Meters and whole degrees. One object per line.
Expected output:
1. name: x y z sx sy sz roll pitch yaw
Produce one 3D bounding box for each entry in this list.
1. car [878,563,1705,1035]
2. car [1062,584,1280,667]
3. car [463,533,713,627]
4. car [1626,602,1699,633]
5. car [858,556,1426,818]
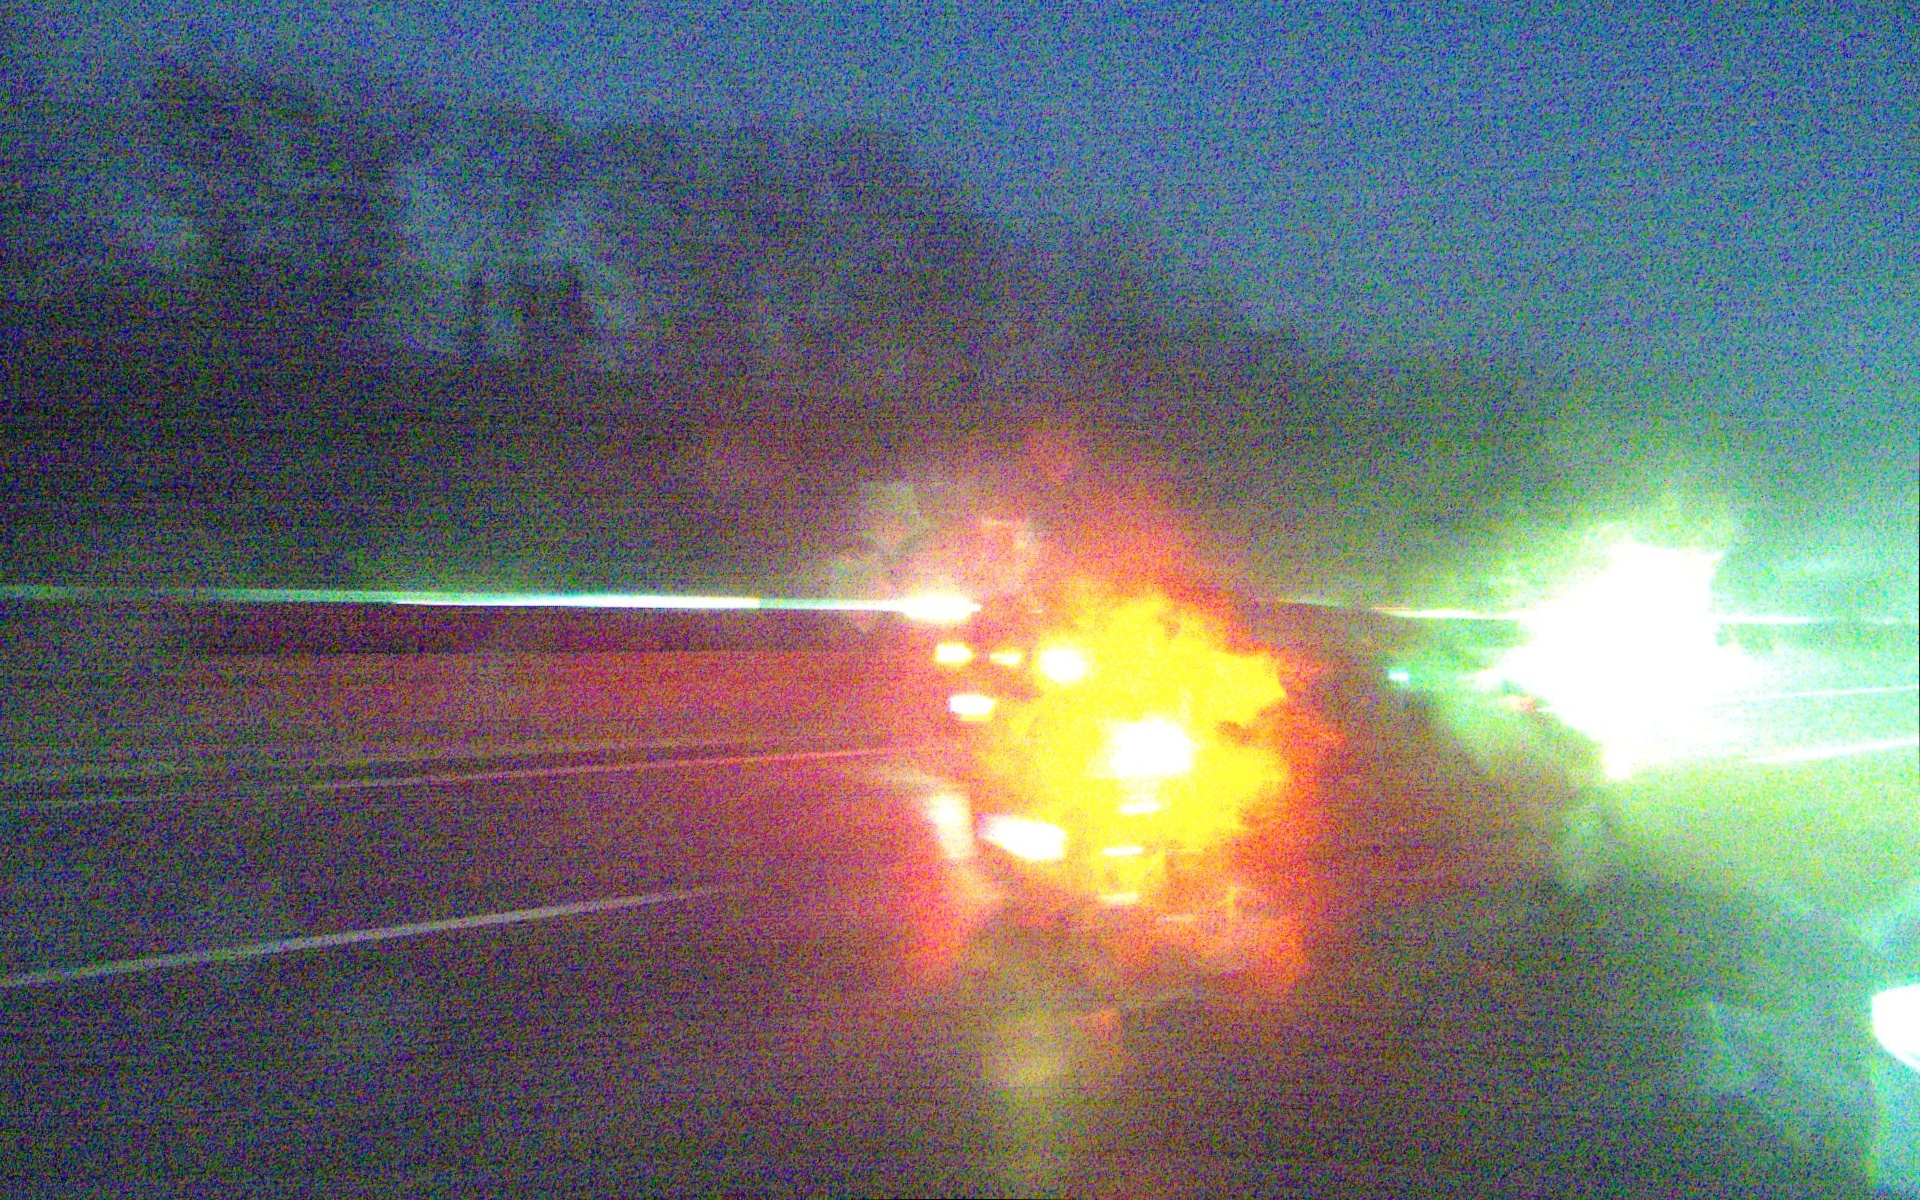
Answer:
1. car: 1.865 0.747 5.340 4.184 1.615 1.907 2 -1 -30
2. car: 4.186 0.494 19.823 3.956 1.484 1.961 2 0 -32
3. car: -6.740 -0.321 18.263 3.956 1.484 1.961 2 0 -32
4. car: 37.060 0.927 52.976 3.954 1.484 1.699 1 2 -31
5. car: 1.721 0.646 8.976 4.829 1.801 1.984 2 0 -30
